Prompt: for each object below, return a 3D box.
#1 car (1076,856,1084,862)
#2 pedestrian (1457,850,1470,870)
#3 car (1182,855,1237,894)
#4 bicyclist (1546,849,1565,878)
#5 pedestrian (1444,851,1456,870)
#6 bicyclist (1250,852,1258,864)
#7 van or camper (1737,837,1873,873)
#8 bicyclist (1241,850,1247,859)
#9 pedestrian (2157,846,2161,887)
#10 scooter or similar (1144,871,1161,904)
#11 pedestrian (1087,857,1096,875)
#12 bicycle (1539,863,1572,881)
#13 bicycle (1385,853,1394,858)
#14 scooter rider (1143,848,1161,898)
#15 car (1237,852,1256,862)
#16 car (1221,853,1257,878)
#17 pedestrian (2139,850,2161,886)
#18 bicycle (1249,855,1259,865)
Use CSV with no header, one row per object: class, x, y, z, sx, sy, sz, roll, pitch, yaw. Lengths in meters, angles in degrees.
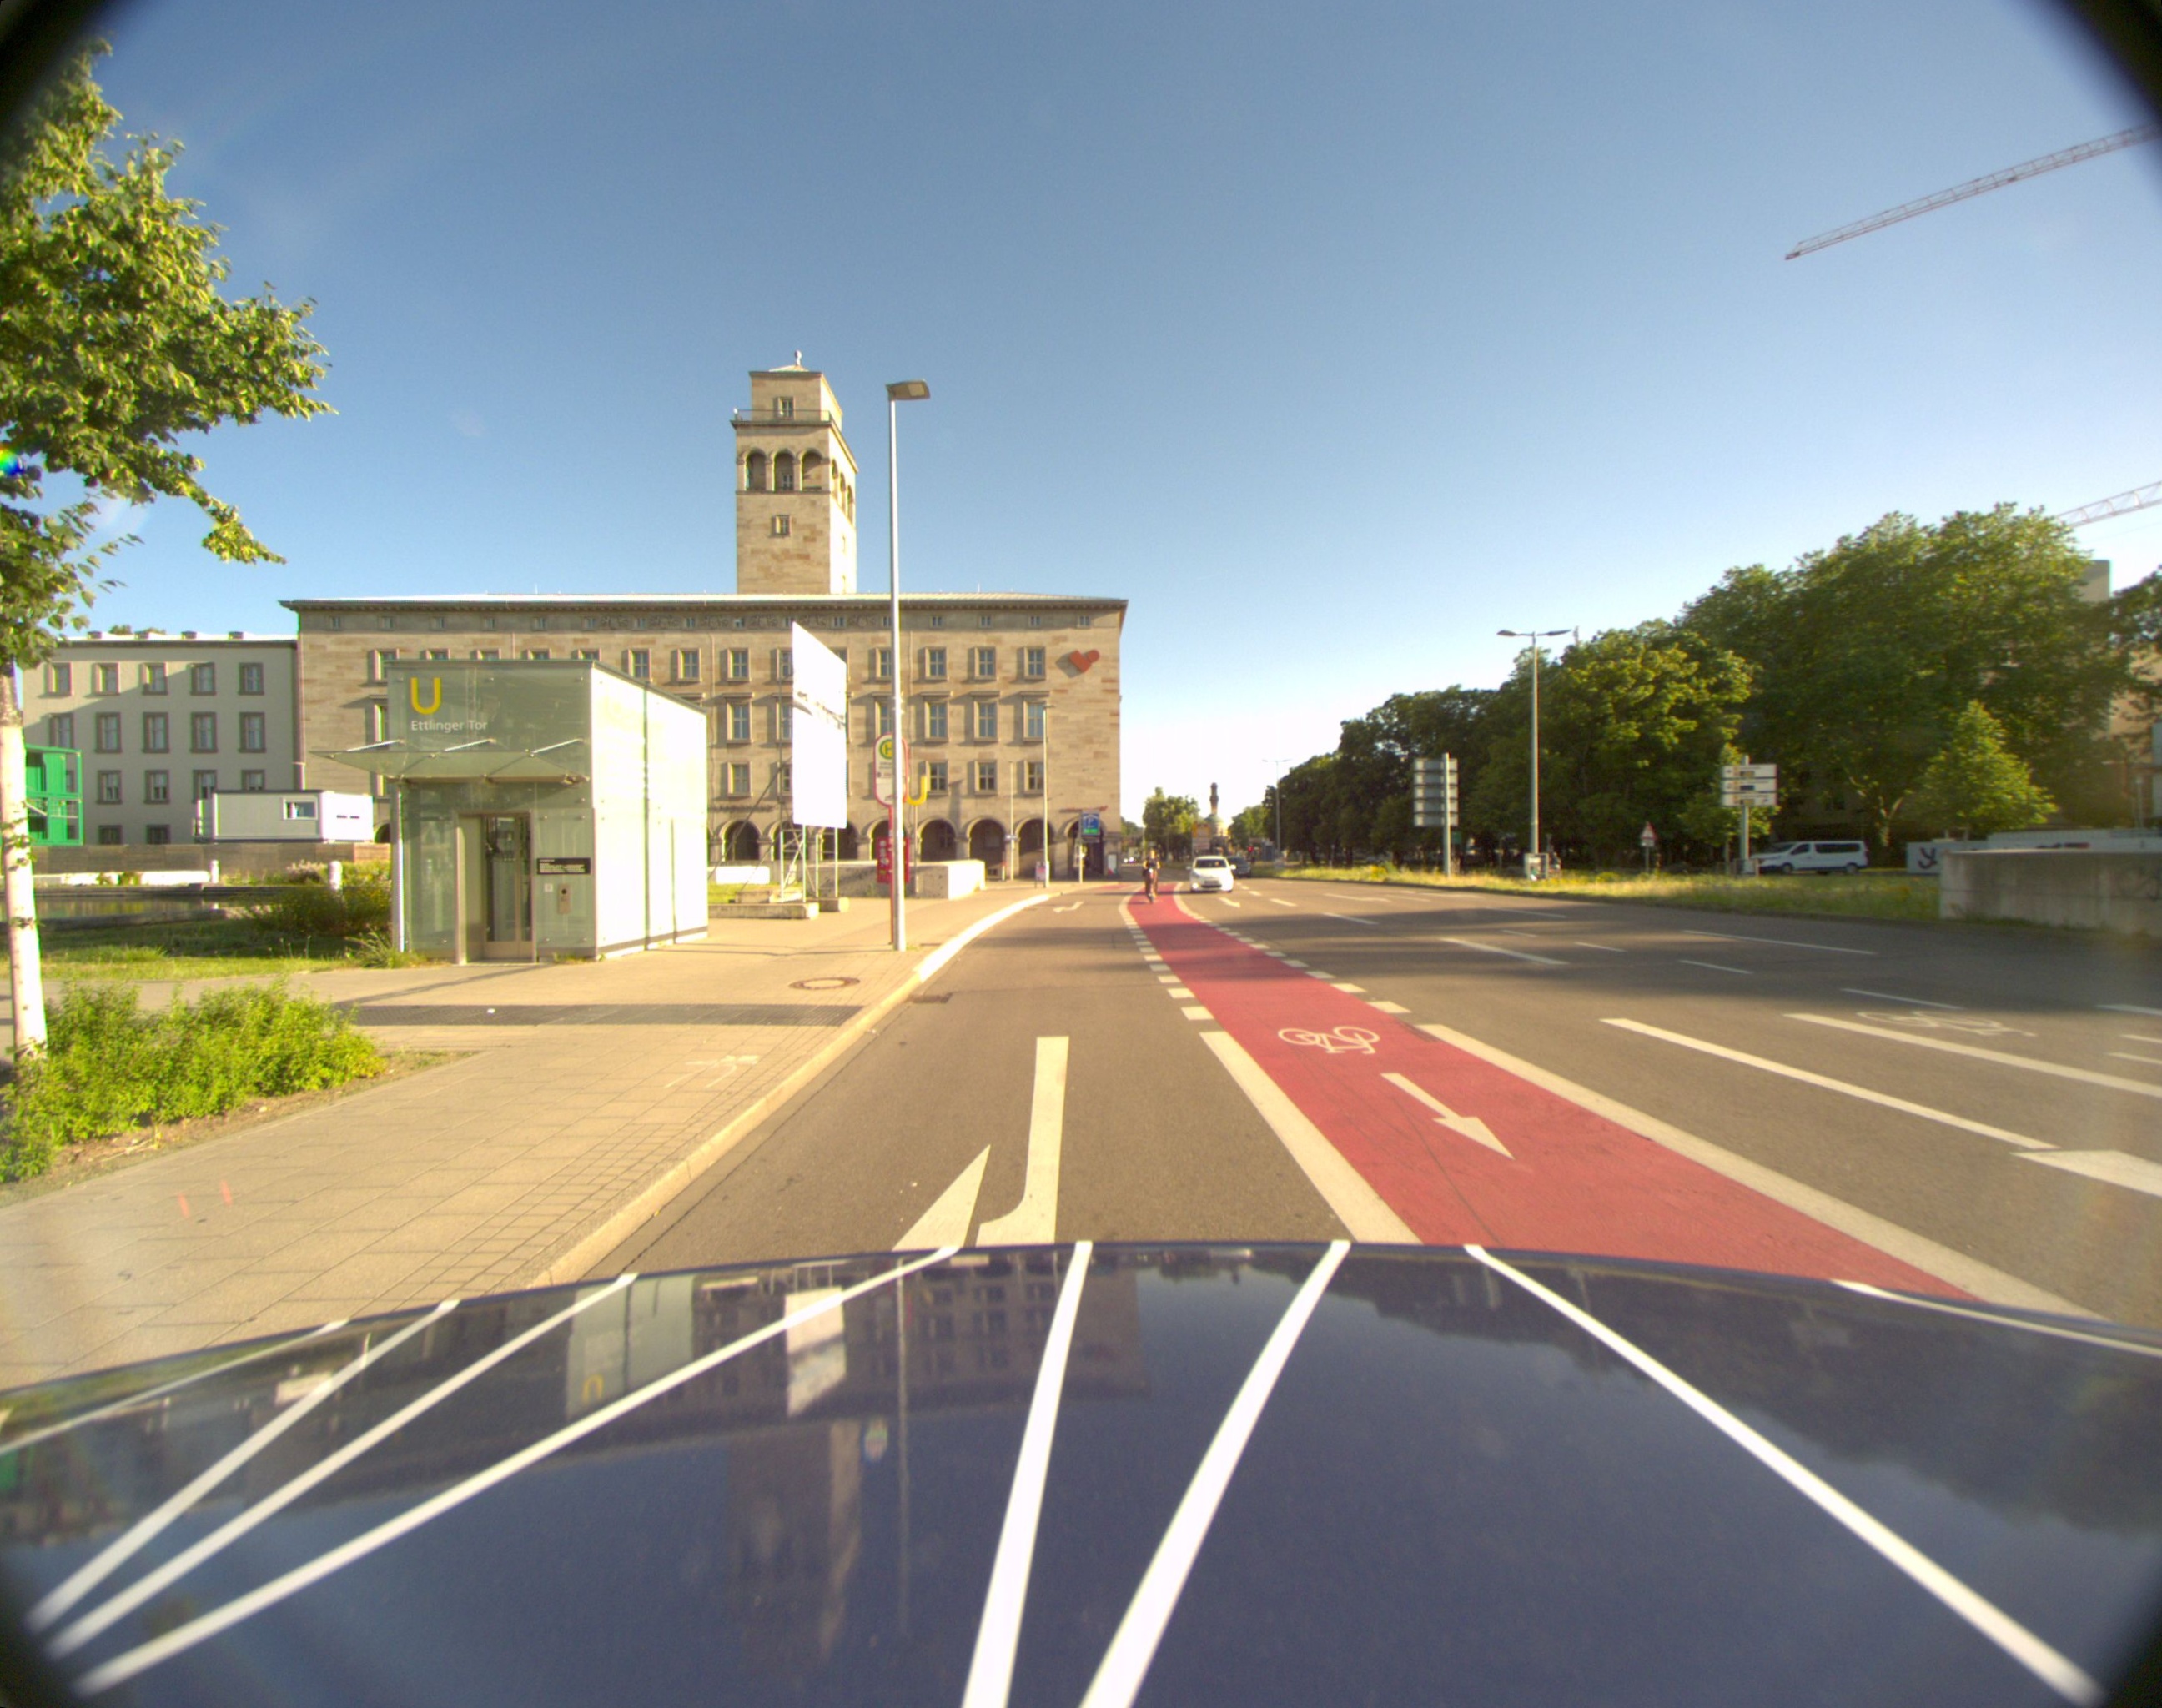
car,-0.165,1.196,188.899,1.999,1.564,4.549,0,0,0
pedestrian,33.538,0.545,66.659,0.773,1.730,0.761,-1,1,3
car,5.238,0.807,31.342,1.678,1.455,3.765,-2,0,1
bicyclist,24.193,0.471,38.741,0.608,1.480,0.681,-1,0,5
pedestrian,32.374,0.585,66.674,0.744,1.631,0.726,-1,1,3
bicyclist,24.008,0.597,105.351,0.749,1.581,1.201,0,2,-3
van or camper,42.286,0.032,44.486,5.677,2.002,2.257,0,2,1
bicyclist,31.523,0.103,146.817,0.850,1.610,0.974,0,1,29
pedestrian,41.137,0.466,28.428,0.581,1.549,0.835,0,0,-2
scooter or similar,2.344,1.077,24.934,0.556,1.025,1.118,0,0,6
pedestrian,0.937,1.062,67.648,0.778,1.560,0.952,0,0,-2
bicycle,24.195,0.923,38.745,0.613,0.856,1.951,-1,0,5
bicycle,54.884,0.343,135.346,0.770,0.884,1.604,0,0,-9
scooter rider,2.333,0.620,24.868,0.562,1.622,0.650,0,1,7
car,25.909,0.465,119.075,1.938,1.517,4.587,-1,0,0
car,11.155,0.790,53.853,1.733,1.629,4.000,-2,0,1
pedestrian,40.480,0.520,28.436,0.581,1.370,0.835,0,0,-2
bicycle,24.003,0.831,105.360,0.760,1.268,2.257,0,2,-3
